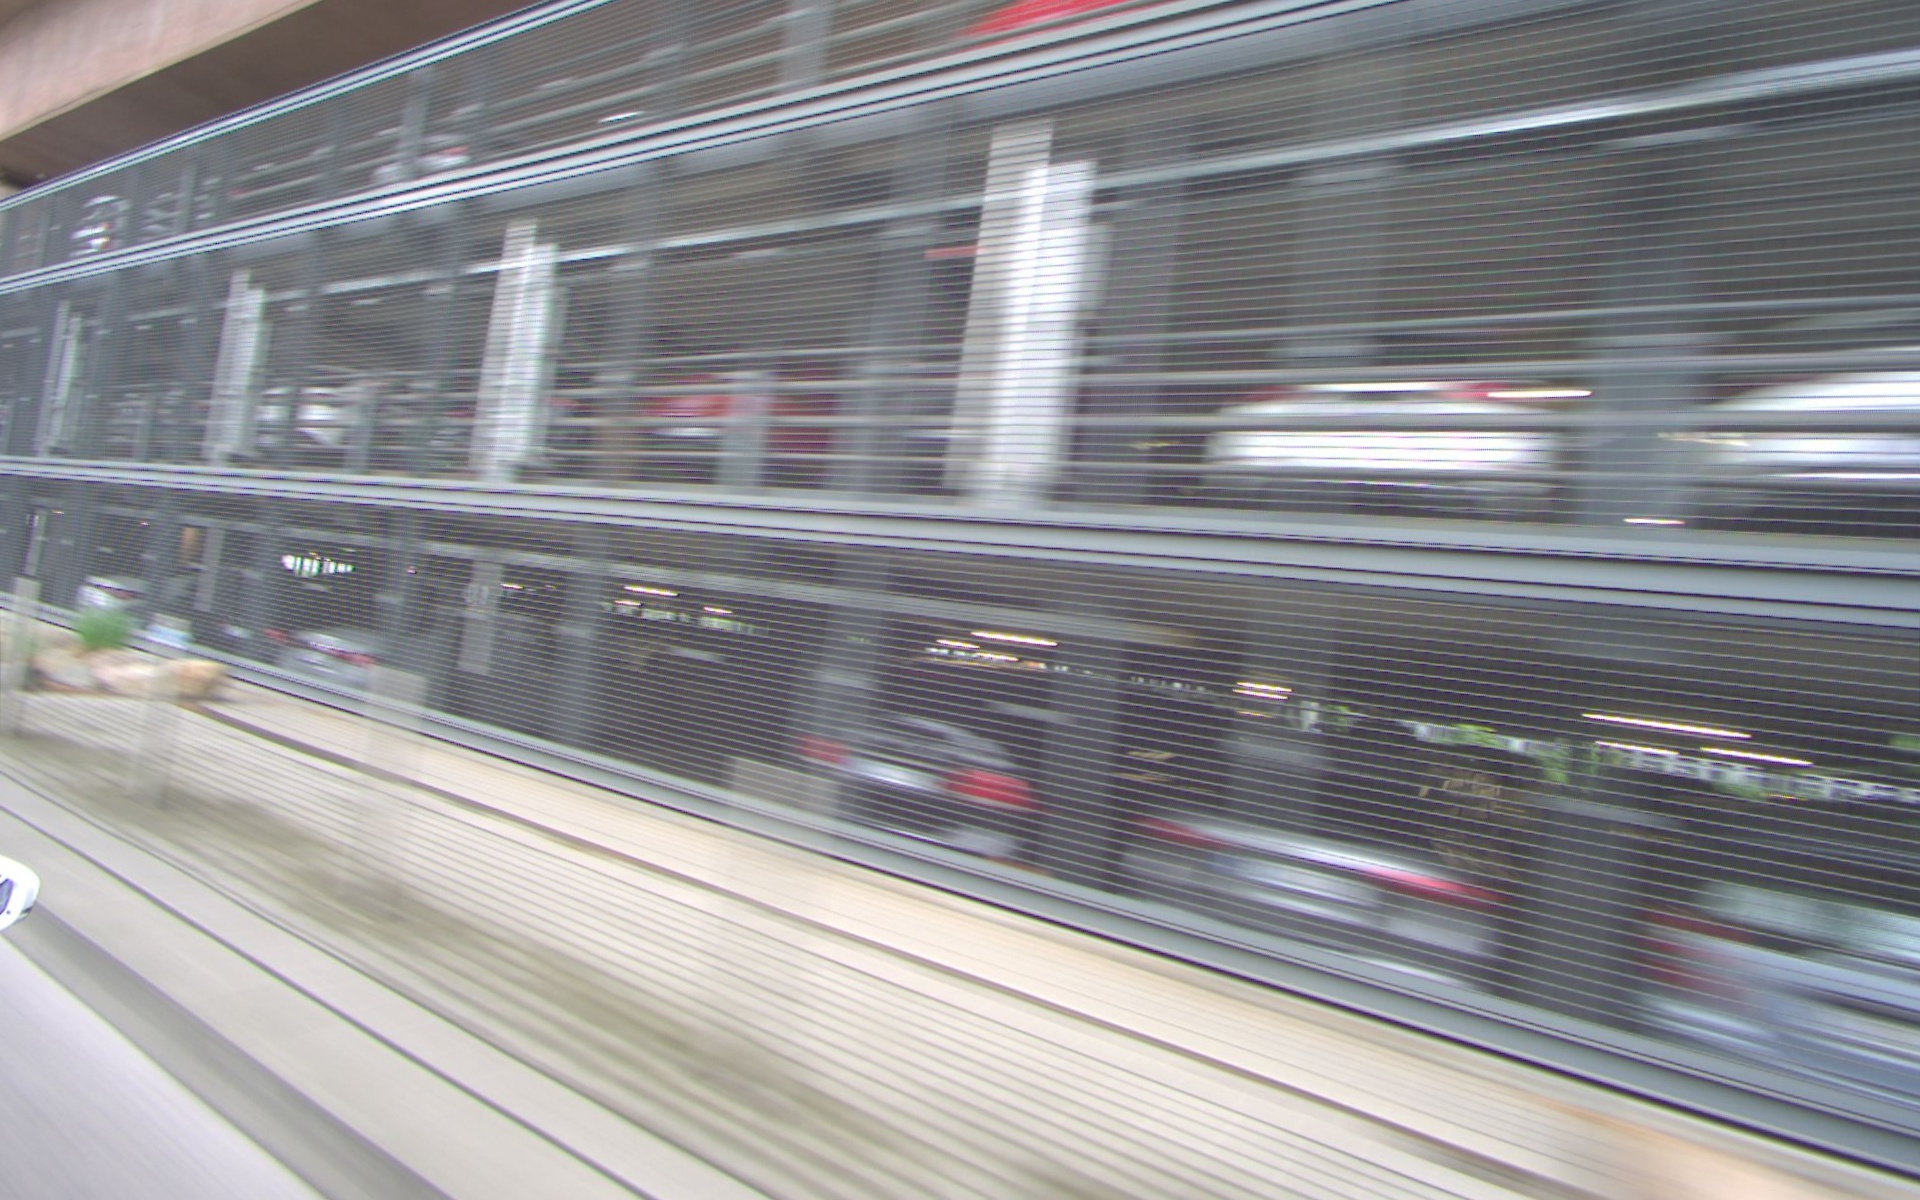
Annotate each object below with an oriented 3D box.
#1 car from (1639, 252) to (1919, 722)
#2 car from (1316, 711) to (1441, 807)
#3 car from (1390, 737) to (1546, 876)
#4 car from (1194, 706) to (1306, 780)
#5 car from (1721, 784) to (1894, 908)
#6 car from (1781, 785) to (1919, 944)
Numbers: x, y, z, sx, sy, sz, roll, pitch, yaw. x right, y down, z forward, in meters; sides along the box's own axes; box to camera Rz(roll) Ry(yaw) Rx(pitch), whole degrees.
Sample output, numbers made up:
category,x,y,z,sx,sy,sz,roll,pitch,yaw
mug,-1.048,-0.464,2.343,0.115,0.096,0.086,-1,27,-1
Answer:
category,x,y,z,sx,sy,sz,roll,pitch,yaw
car,5.070,-0.326,5.665,1.802,1.675,3.995,8,-3,34
car,8.939,3.353,21.321,1.792,1.554,3.652,7,-4,31
car,8.230,3.208,16.108,1.694,1.632,3.998,7,-4,33
car,6.713,3.294,23.103,1.485,1.329,3.477,8,-4,31
car,14.816,4.229,17.792,1.626,1.554,3.652,8,-4,31
car,12.477,3.479,13.285,1.804,1.632,3.999,8,-4,31
